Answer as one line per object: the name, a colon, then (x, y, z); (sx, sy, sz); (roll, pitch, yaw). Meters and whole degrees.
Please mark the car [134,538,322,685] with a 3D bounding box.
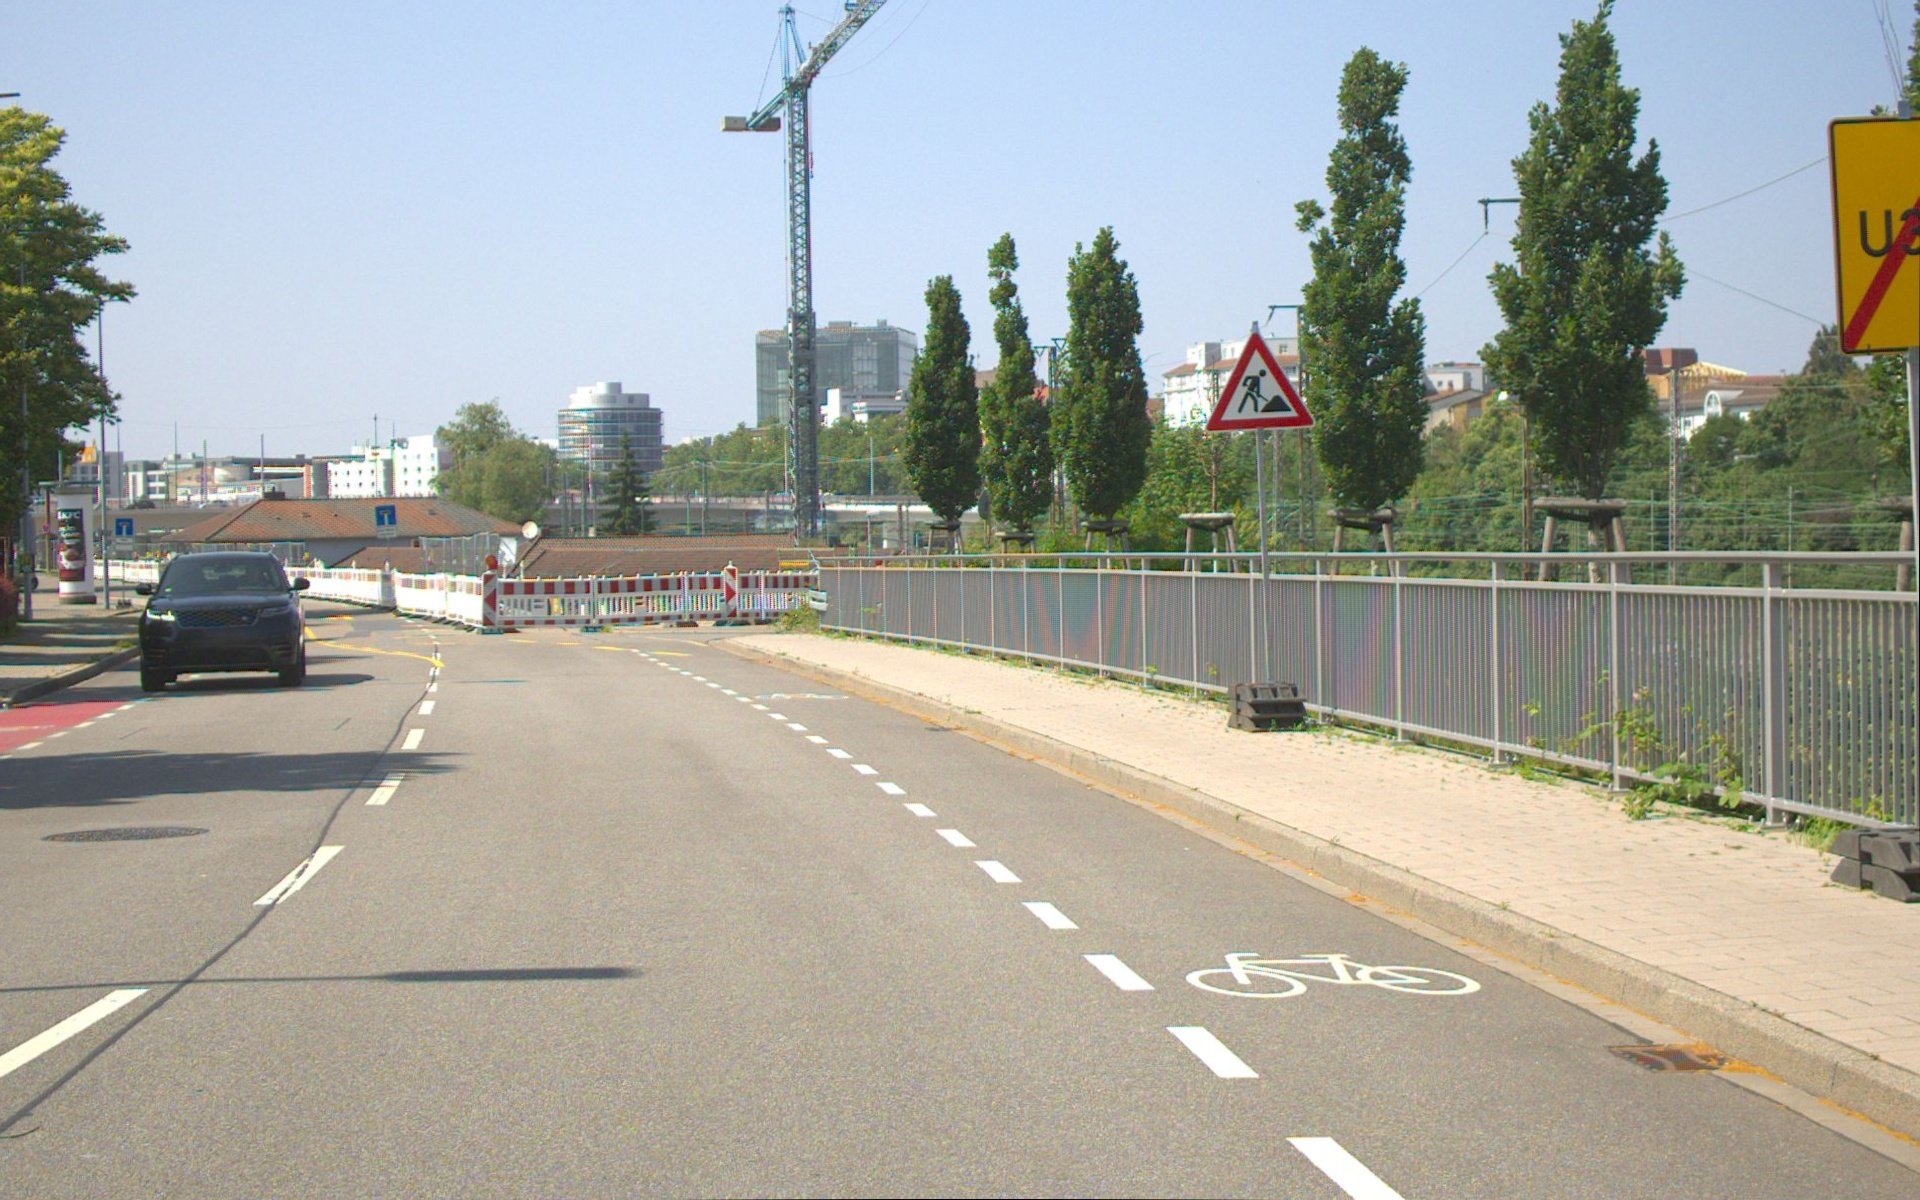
car: (-9.268, 0.094, 43.272); (1.949, 1.689, 4.614); (-2, 1, -16)
